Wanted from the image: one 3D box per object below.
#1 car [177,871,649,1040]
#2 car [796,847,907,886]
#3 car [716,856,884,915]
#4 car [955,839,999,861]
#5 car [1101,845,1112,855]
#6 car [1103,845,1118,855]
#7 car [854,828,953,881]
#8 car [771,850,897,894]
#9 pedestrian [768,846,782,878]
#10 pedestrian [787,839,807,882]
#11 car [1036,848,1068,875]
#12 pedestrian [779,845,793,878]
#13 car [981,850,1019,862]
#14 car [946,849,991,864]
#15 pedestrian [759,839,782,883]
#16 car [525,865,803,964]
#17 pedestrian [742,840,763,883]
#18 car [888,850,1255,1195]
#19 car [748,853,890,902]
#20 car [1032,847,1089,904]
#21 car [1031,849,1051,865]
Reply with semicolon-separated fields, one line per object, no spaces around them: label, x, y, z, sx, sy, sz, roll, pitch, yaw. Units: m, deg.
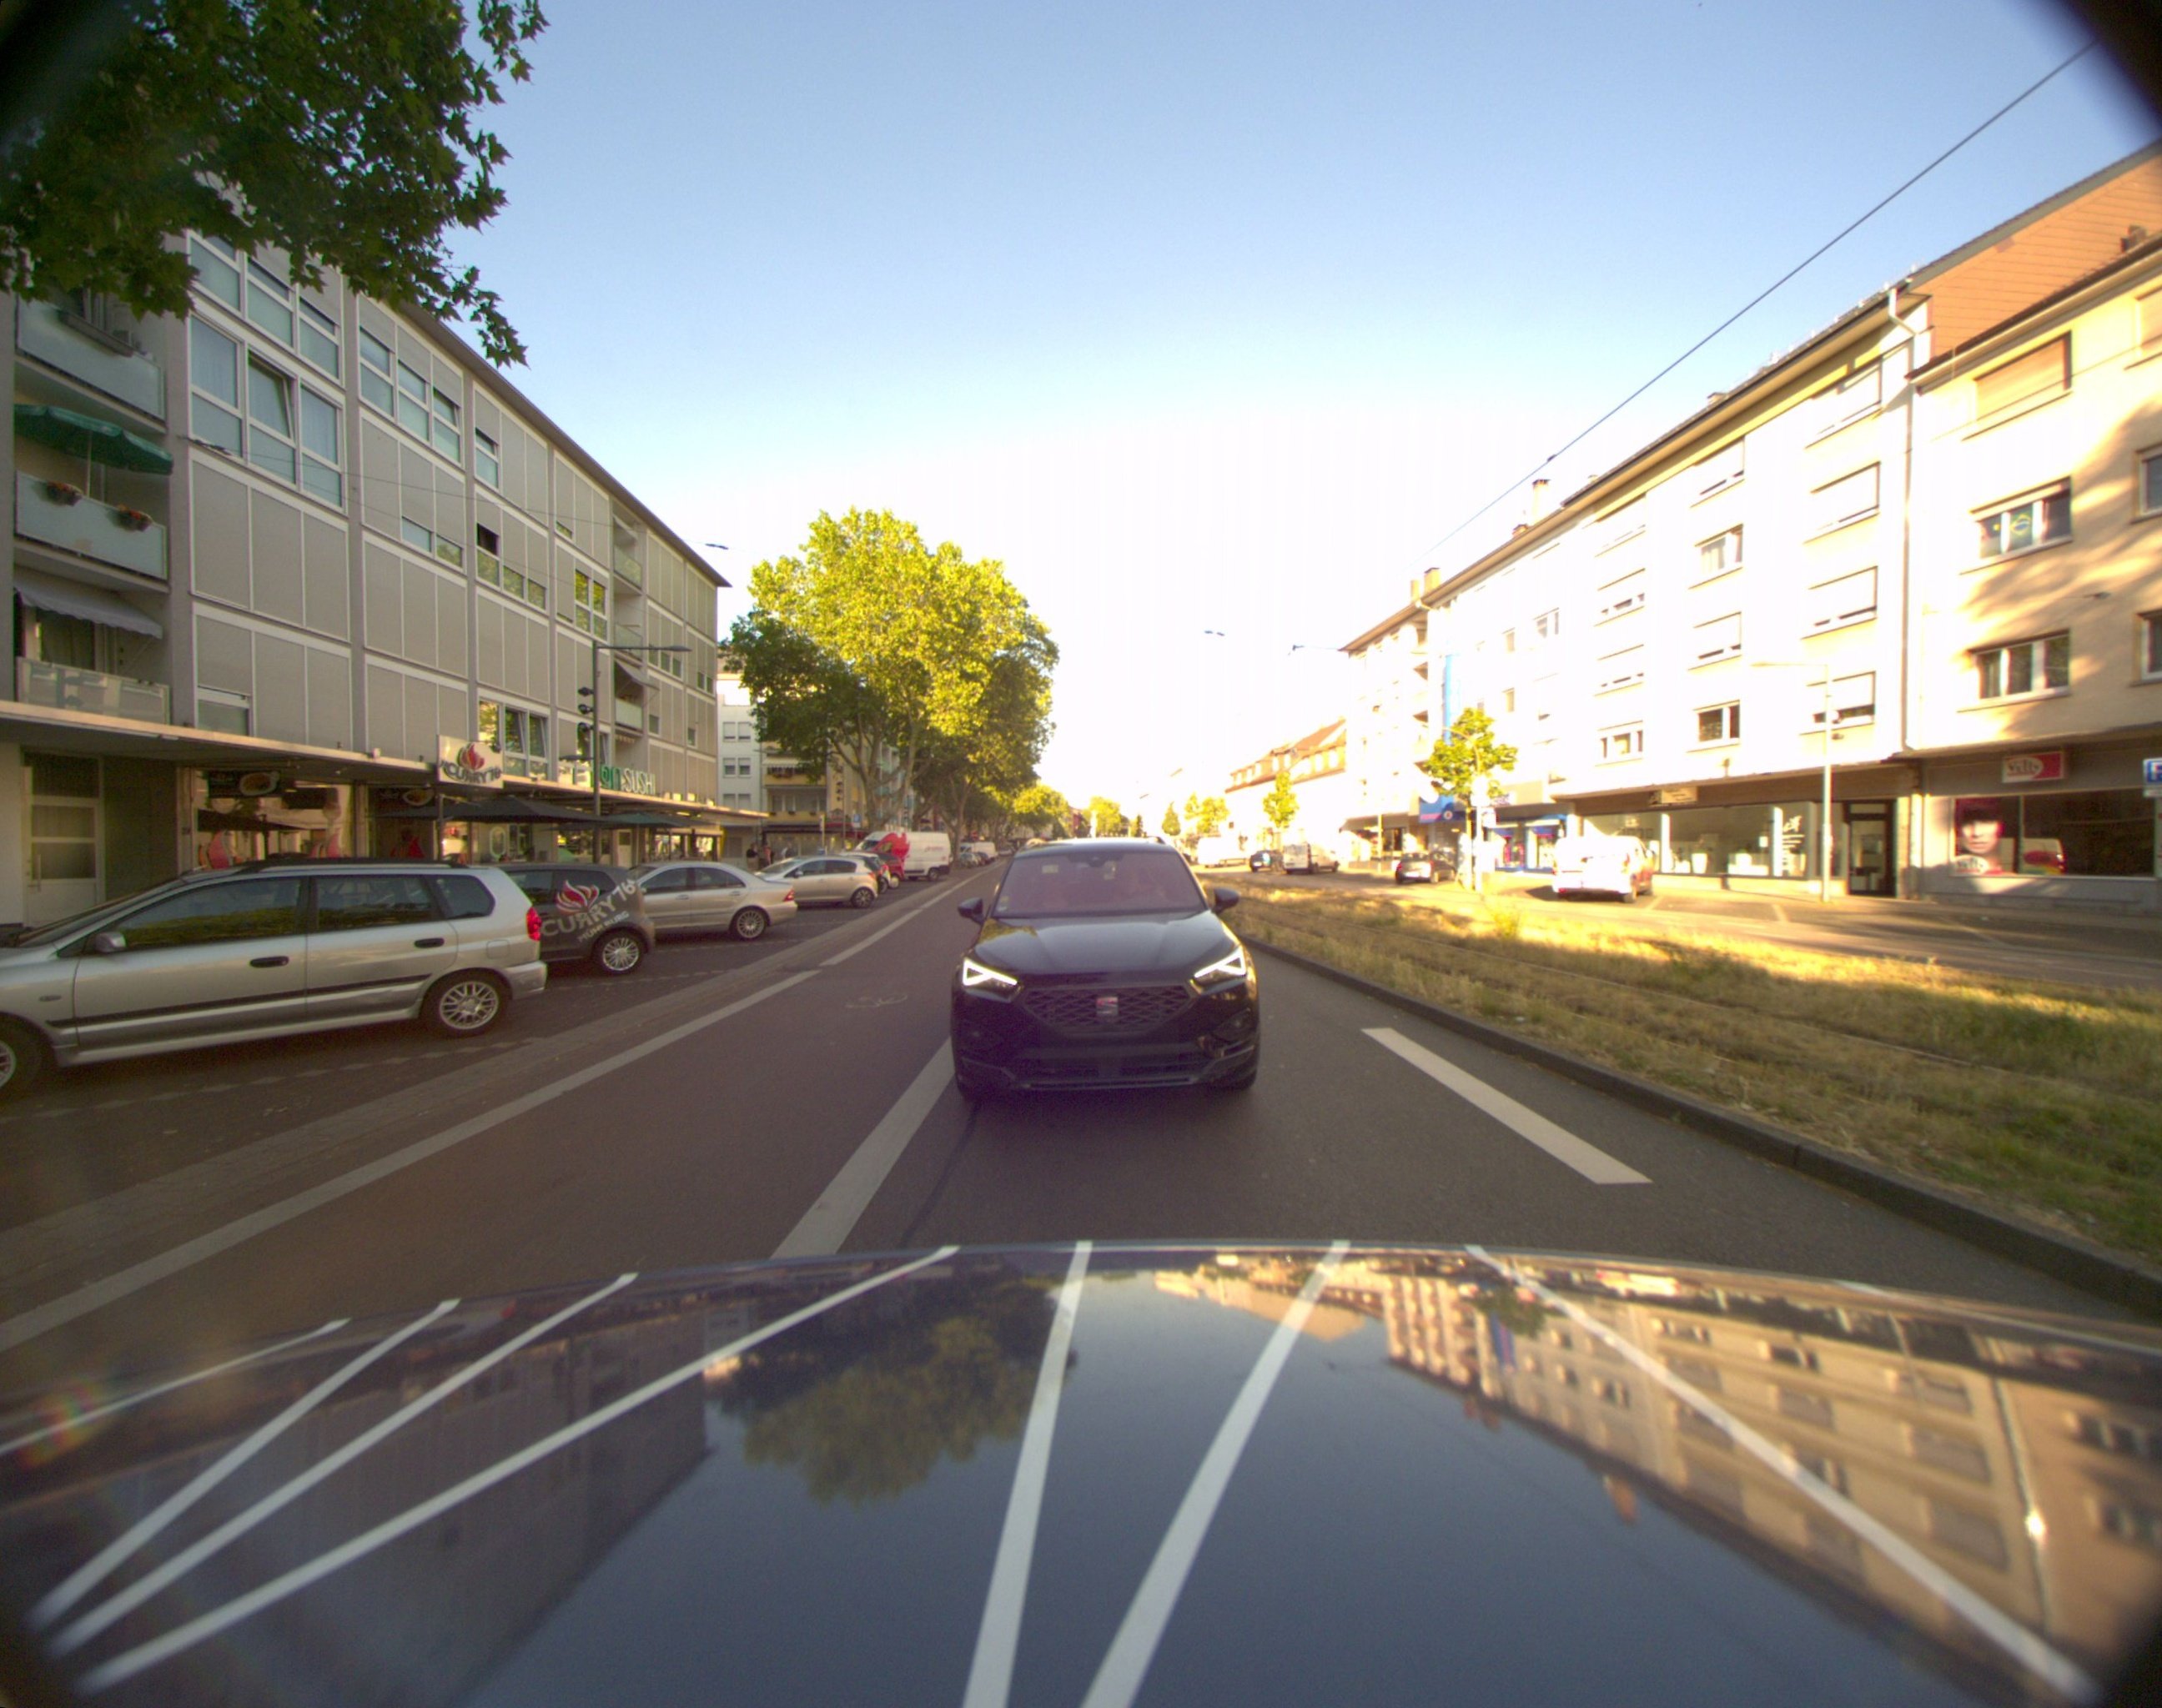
car;-7.590;0.977;8.997;1.672;1.420;3.949;2;1;38
car;-9.208;0.514;30.560;3.948;1.421;1.672;1;2;-32
car;-7.502;0.799;20.547;3.950;1.420;1.555;1;1;-45
car;-11.657;-0.444;85.014;1.973;2.455;4.605;1;1;44
car;5.296;-0.777;159.006;1.906;2.002;3.998;0;1;-5
car;4.903;-0.676;126.230;1.999;1.783;3.998;0;1;-4
car;-8.766;0.026;37.833;4.606;2.479;1.672;0;0;-44
car;-8.843;0.643;27.279;3.948;1.421;1.672;2;2;-32
pedestrian;-15.947;0.416;39.629;0.537;1.630;0.478;0;1;-4
pedestrian;-13.301;0.280;35.622;0.748;2.002;0.559;0;1;-4
car;-1.693;0.396;45.425;1.729;1.467;3.999;-2;1;-1
pedestrian;-15.360;0.384;39.617;0.545;1.710;0.457;0;1;-4
car;-8.809;0.210;82.703;1.778;1.326;3.943;0;1;44
car;-10.790;0.255;72.959;1.778;1.396;3.943;0;1;44
pedestrian;-14.288;0.335;34.990;0.748;2.002;0.764;0;1;-4
car;-7.140;0.930;13.314;1.592;1.393;3.950;2;1;41
pedestrian;-15.119;0.337;34.985;0.748;1.964;0.575;0;1;-4
car;-0.011;0.847;5.830;1.785;1.639;3.999;-2;1;1
car;-8.289;0.730;24.158;3.948;1.420;1.672;1;1;-34
car;-0.641;0.625;24.949;1.646;1.646;3.999;-2;1;-1
car;-3.942;0.247;75.369;1.729;1.443;4.227;-2;1;-1
